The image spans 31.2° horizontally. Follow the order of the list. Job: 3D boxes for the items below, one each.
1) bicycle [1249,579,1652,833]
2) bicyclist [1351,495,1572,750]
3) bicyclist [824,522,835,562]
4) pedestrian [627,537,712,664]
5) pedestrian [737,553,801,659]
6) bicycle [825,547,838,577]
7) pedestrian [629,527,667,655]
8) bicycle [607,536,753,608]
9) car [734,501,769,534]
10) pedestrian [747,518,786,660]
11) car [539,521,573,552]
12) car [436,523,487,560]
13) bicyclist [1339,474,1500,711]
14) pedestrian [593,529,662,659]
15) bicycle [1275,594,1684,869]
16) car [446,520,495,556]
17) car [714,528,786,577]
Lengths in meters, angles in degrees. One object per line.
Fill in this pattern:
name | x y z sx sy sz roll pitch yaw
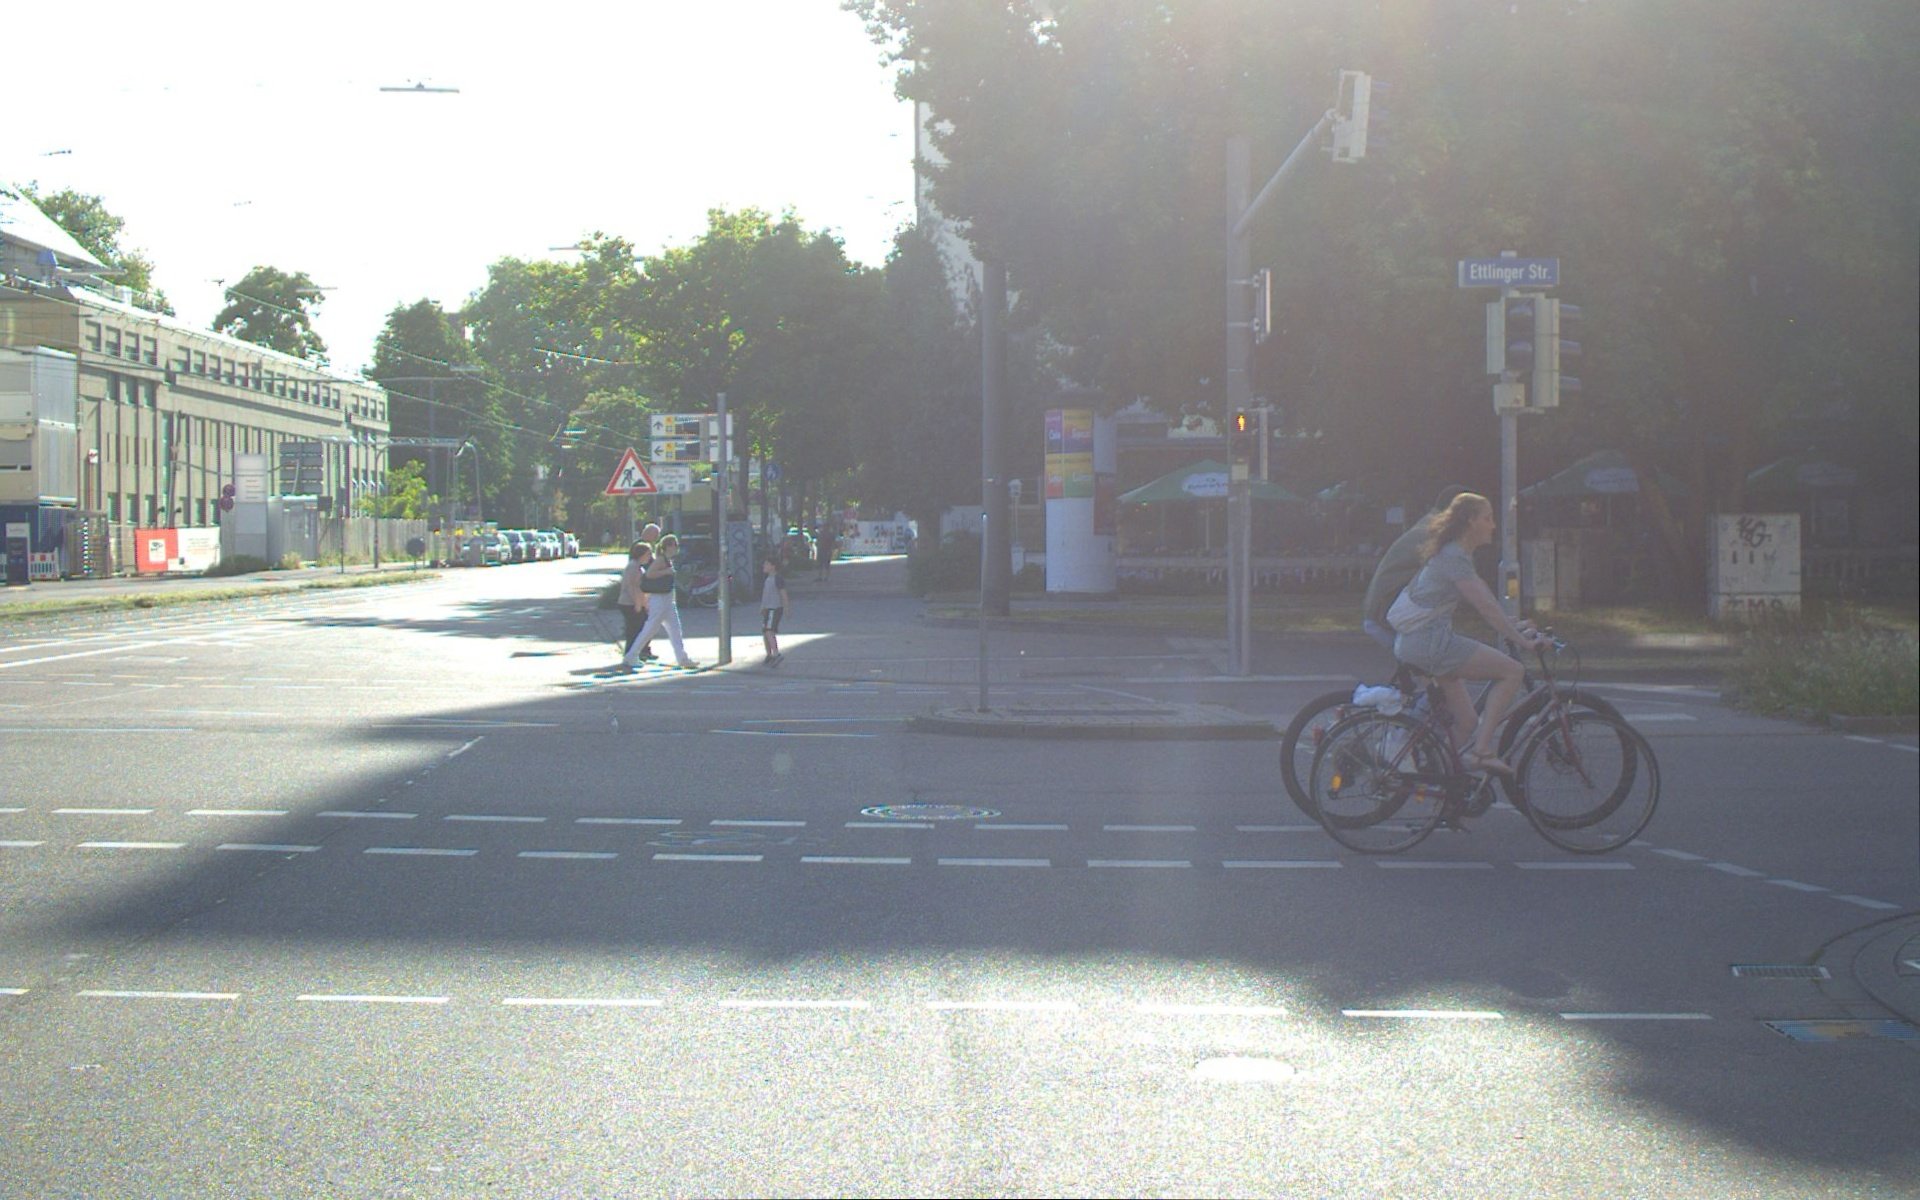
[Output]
bicycle | 2.564 0.544 18.118 1.985 1.287 0.792 0 1 -2
bicyclist | 2.449 0.102 16.860 0.925 1.214 0.797 0 1 -3
bicyclist | -3.735 -1.659 98.413 0.318 1.123 0.291 -1 1 -1
pedestrian | -3.666 0.007 43.450 0.984 1.582 0.660 0 0 1
pedestrian | -2.421 0.073 43.627 0.752 1.328 0.742 0 1 1
bicycle | -3.680 -1.092 98.441 0.324 0.865 1.483 -1 1 -1
pedestrian | -4.081 -0.119 44.989 0.441 1.657 0.376 -1 1 -1
bicycle | -5.464 -0.551 67.136 2.748 1.363 0.630 1 0 11
car | -13.130 -5.163 216.256 1.993 2.007 4.000 -1 1 -1
pedestrian | -2.455 -0.142 43.606 0.361 1.798 0.506 0 1 11
car | -22.813 -3.576 194.380 1.483 1.744 4.000 -1 1 -1
car | -22.608 -2.657 156.025 1.731 1.647 4.000 0 1 -1
bicyclist | 2.410 -0.044 18.098 0.720 1.214 0.798 0 1 -1
pedestrian | -4.242 -0.078 43.843 0.795 1.634 0.533 0 1 2
bicycle | 2.529 0.626 16.863 1.851 1.287 0.792 0 1 -4
car | -22.796 -2.884 160.171 1.731 1.647 4.000 0 1 -1
car | -5.523 -1.264 90.915 1.819 1.274 4.001 0 1 -3
